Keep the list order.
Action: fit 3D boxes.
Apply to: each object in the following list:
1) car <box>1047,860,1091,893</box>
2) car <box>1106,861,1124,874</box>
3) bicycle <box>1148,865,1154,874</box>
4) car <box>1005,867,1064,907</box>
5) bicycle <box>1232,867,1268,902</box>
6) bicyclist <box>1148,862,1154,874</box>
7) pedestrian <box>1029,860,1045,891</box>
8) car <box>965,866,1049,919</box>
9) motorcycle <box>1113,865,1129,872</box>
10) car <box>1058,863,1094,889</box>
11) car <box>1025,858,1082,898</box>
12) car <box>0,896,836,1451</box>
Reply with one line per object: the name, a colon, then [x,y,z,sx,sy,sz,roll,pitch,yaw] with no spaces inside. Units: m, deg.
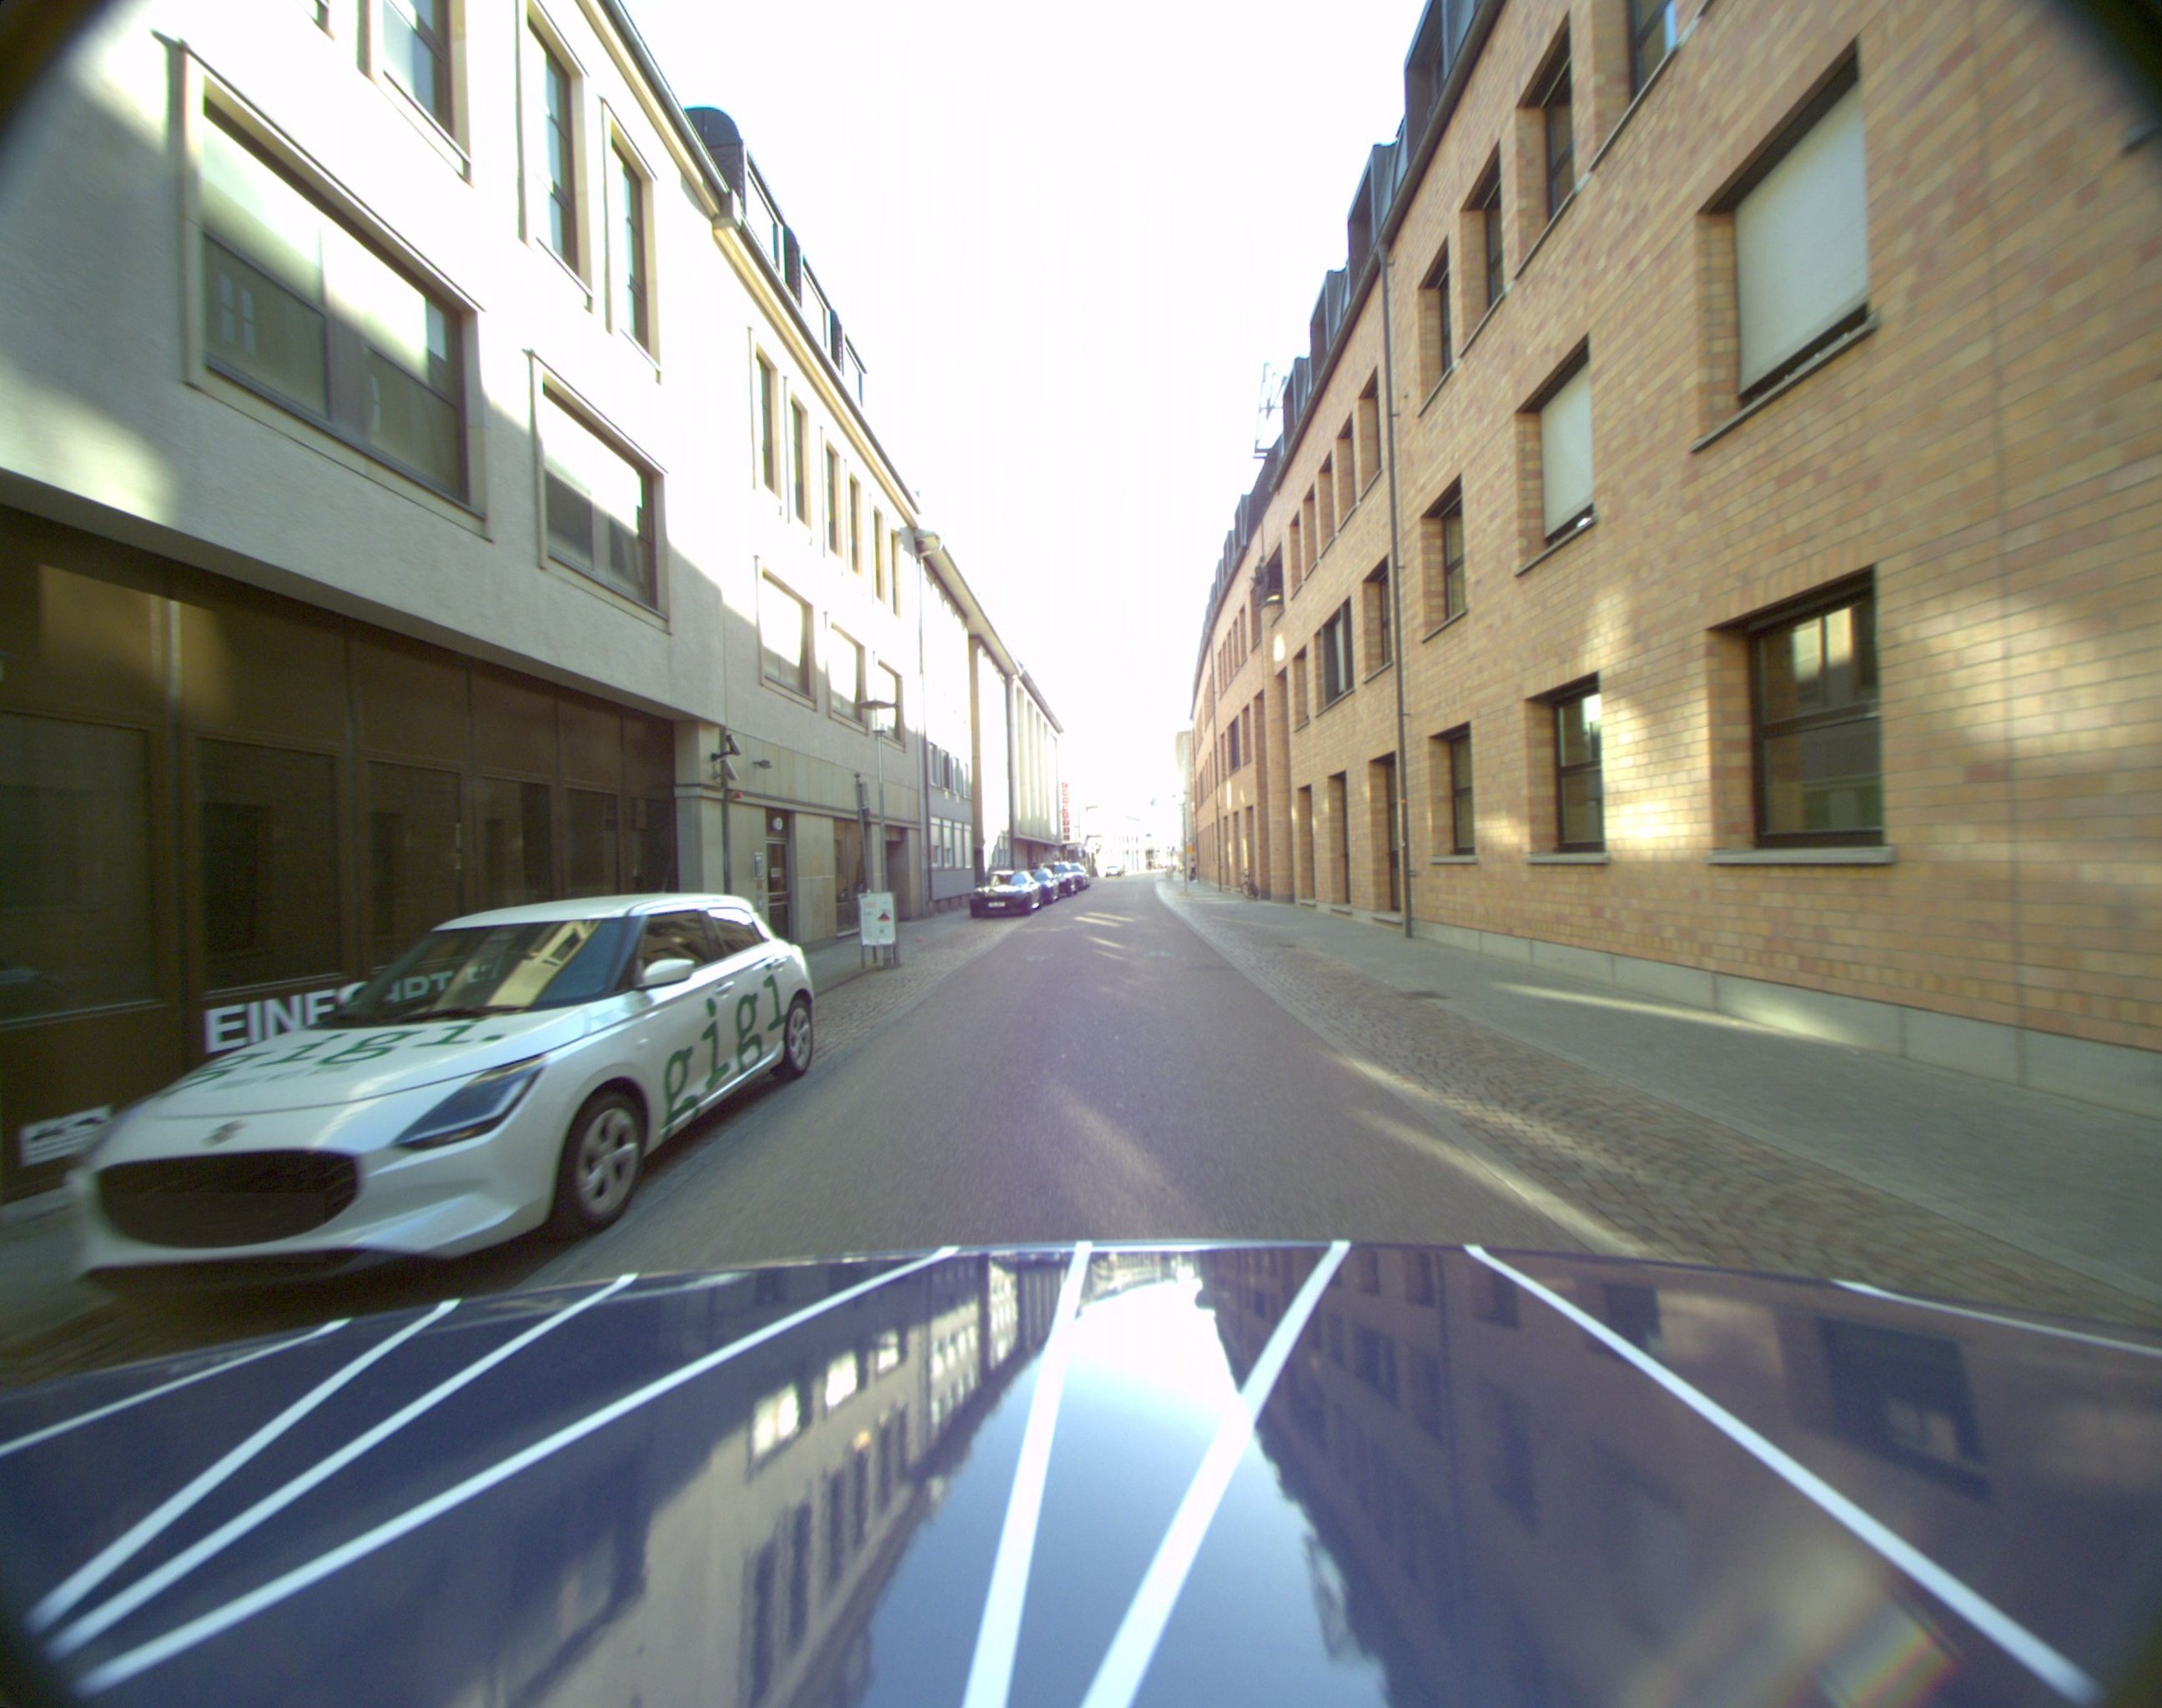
car: [-0.656,1.289,44.851,1.998,1.692,4.845,-4,-1,5]
car: [4.079,1.589,90.747,1.846,1.453,4.001,-3,-1,6]
bicycle: [9.793,2.179,106.170,0.652,1.125,1.737,2,1,7]
car: [-1.846,1.306,31.611,1.811,1.404,4.791,-4,-1,3]
bicycle: [5.976,1.057,26.971,0.633,1.155,1.803,-5,-1,-5]
bicyclist: [9.801,1.940,106.159,0.663,1.633,0.926,2,1,7]
pedestrian: [-2.414,1.182,41.922,0.790,1.711,0.747,0,0,5]
car: [-2.348,1.221,25.594,1.898,1.444,5.227,-3,0,4]
motorcycle: [5.341,1.959,101.805,1.995,0.950,0.646,-2,0,20]
car: [-0.254,1.413,50.555,1.827,1.495,4.602,-5,-1,5]
car: [-1.279,1.138,37.769,2.108,1.775,5.054,-3,-1,5]
car: [-3.074,1.143,4.487,1.845,1.469,4.168,-4,0,-1]
